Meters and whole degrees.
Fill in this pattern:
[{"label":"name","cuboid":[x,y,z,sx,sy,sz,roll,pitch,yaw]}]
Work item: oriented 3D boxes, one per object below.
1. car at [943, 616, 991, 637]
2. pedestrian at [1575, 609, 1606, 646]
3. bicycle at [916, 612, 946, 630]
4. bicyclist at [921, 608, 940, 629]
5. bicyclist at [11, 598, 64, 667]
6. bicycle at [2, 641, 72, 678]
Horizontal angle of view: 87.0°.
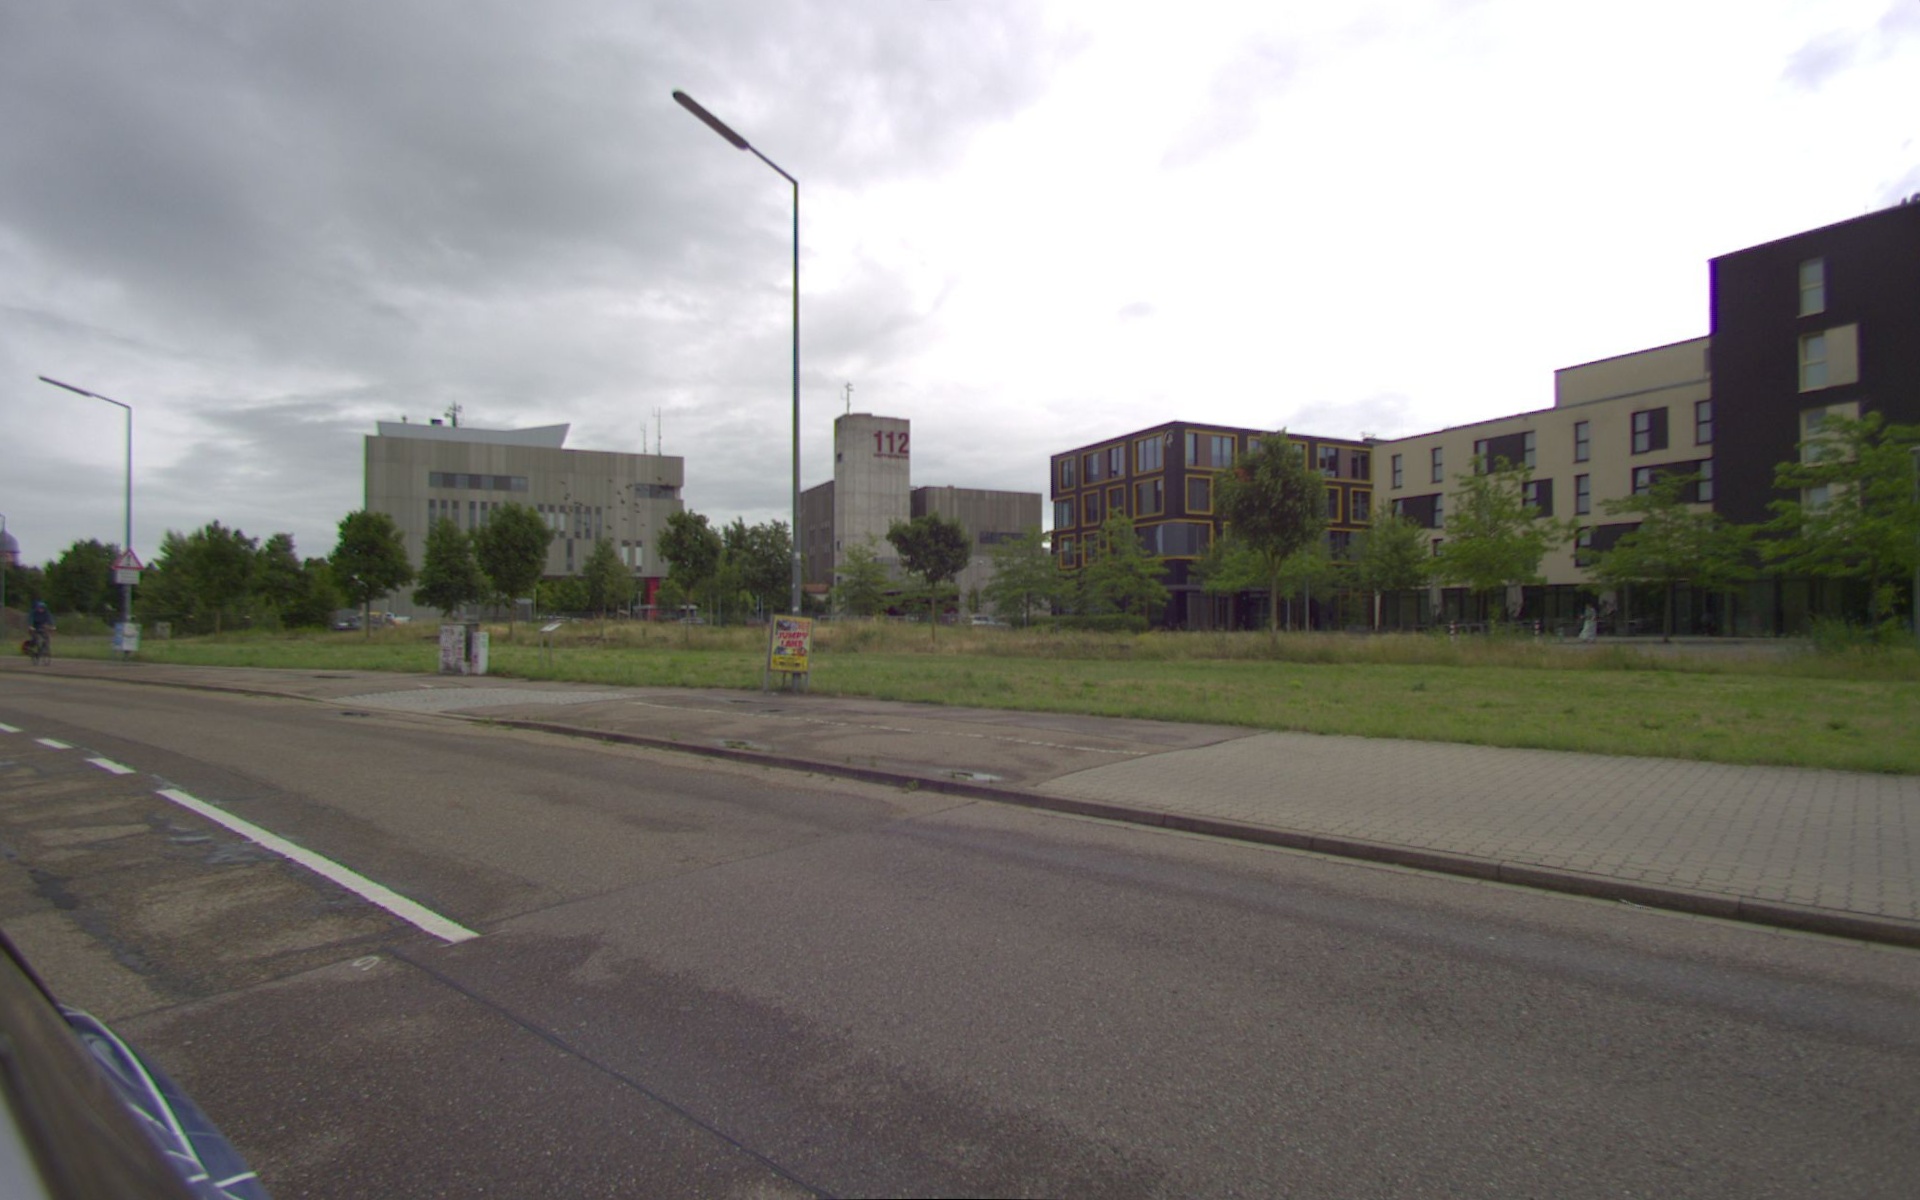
[{"label":"car","cuboid":[0.518,2.103,78.818,1.966,1.535,4.011,2,-4,-32]},{"label":"pedestrian","cuboid":[27.175,1.174,43.638,0.939,1.583,0.876,1,-3,-43]},{"label":"bicycle","cuboid":[-2.702,1.972,94.326,2.457,1.596,1.090,0,-2,-28]},{"label":"bicyclist","cuboid":[-2.736,1.742,94.337,1.378,1.914,1.080,0,-2,-29]},{"label":"bicyclist","cuboid":[-27.690,0.986,30.387,1.172,2.029,0.855,-2,-2,30]},{"label":"bicycle","cuboid":[-27.688,1.795,30.357,2.459,1.060,0.877,-2,-2,31]}]
